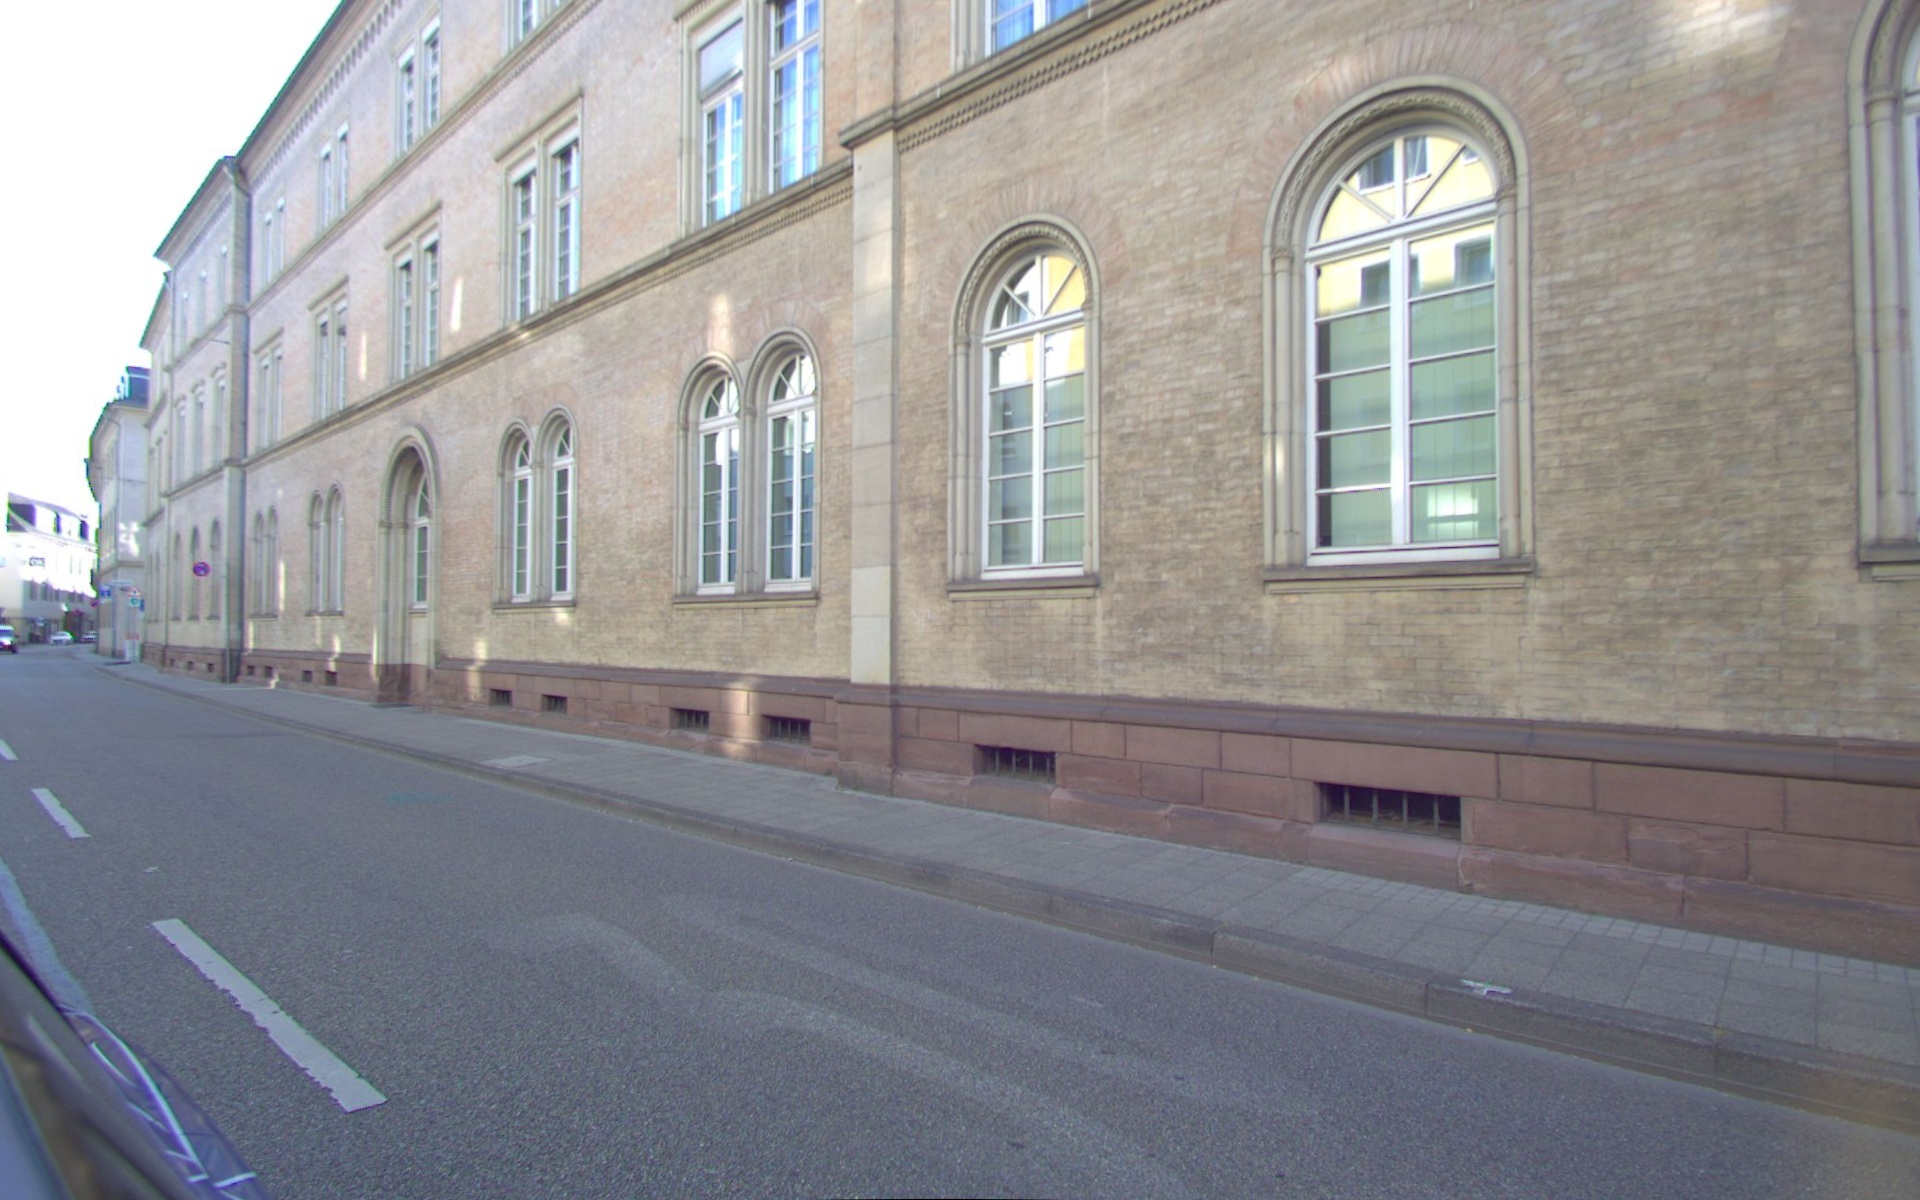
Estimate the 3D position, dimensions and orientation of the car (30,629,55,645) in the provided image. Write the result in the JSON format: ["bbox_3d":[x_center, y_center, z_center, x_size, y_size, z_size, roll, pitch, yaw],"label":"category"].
[{"bbox_3d":[-102.440,4.126,112.972,1.511,1.737,3.749,1,-2,-34],"label":"car"}]

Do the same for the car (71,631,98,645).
[{"bbox_3d":[-109.353,4.788,126.436,1.896,1.737,4.242,1,-2,-31],"label":"car"}]

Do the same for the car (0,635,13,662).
[{"bbox_3d":[-63.386,3.154,66.190,1.894,1.735,4.967,1,-2,-41],"label":"car"}]

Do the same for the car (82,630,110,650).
[{"bbox_3d":[-80.204,3.696,93.960,1.638,1.737,3.748,1,-2,-36],"label":"car"}]
